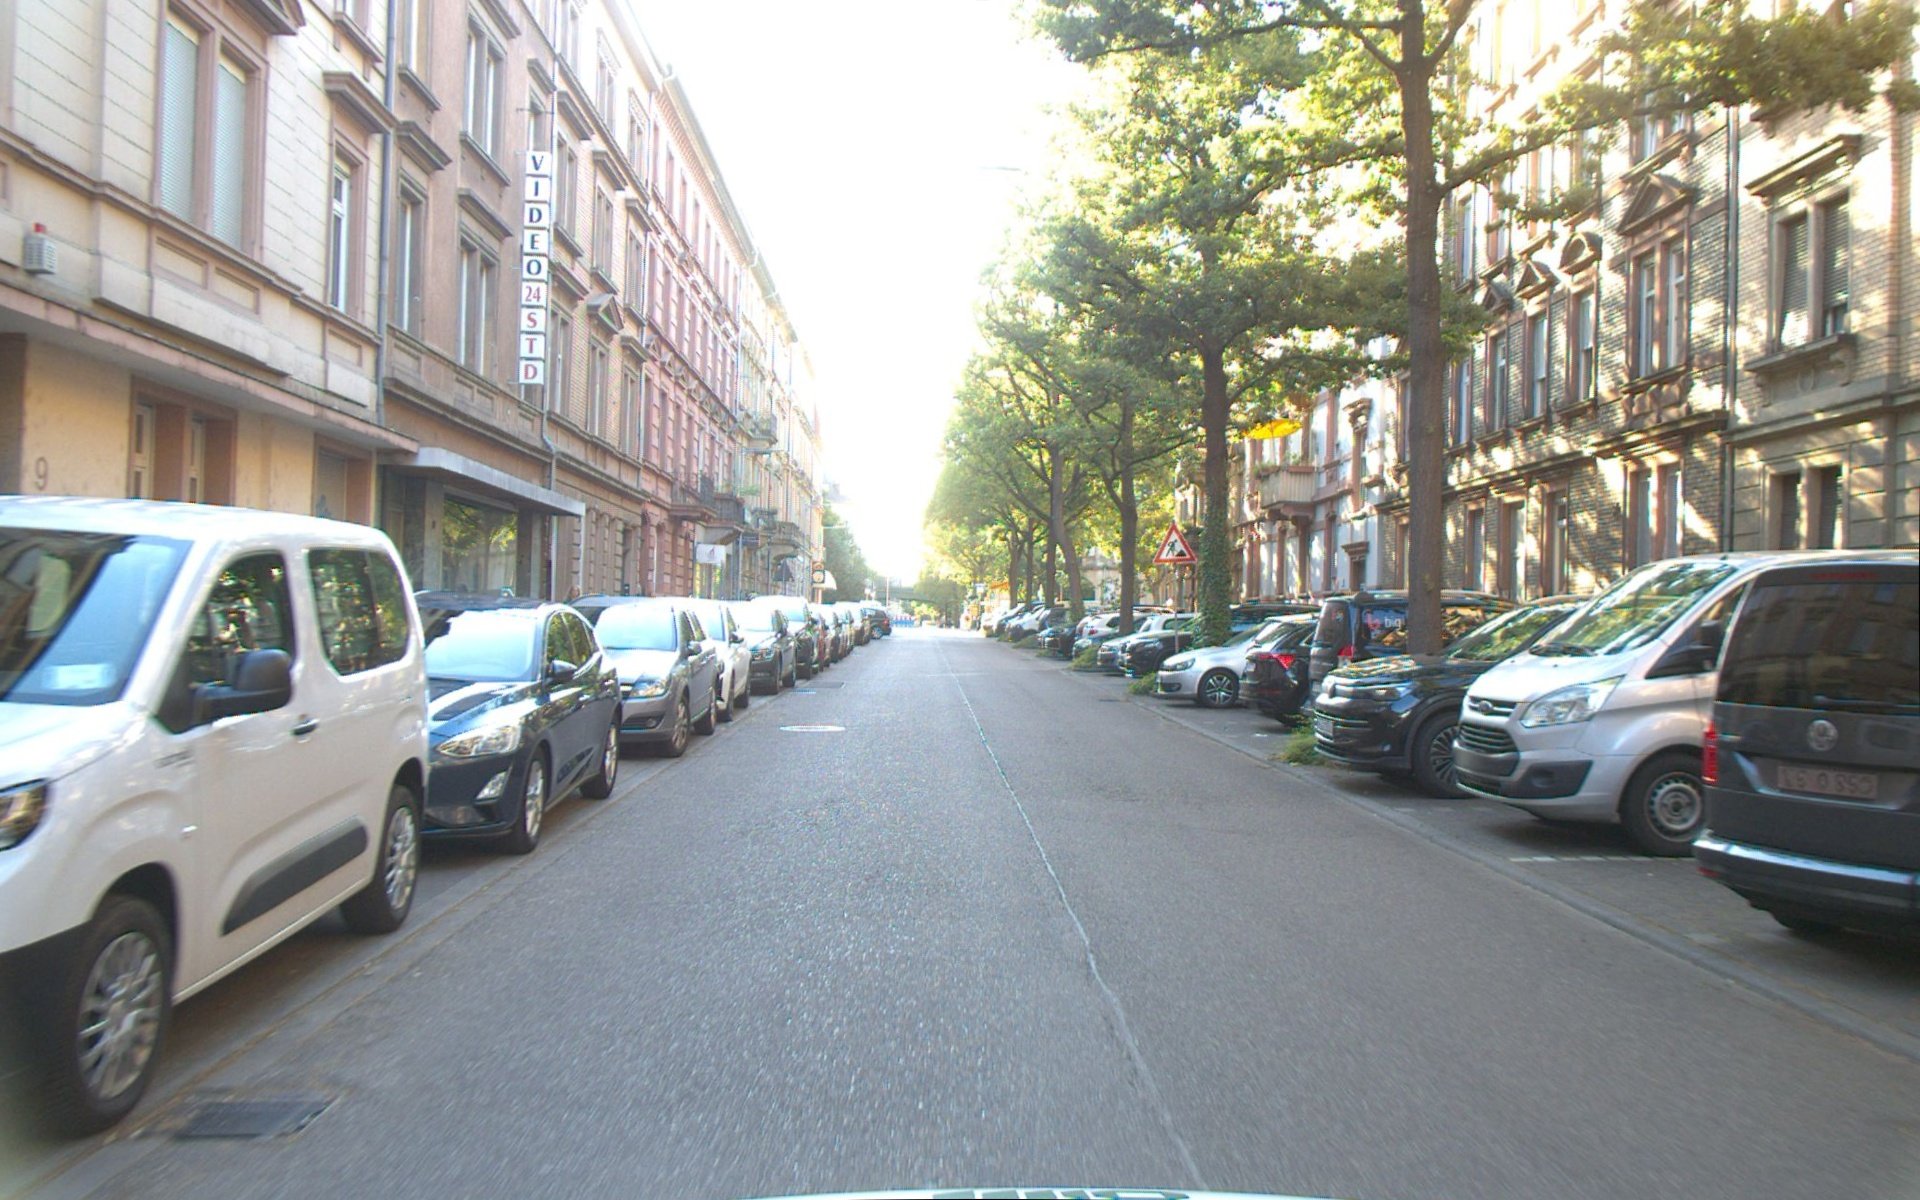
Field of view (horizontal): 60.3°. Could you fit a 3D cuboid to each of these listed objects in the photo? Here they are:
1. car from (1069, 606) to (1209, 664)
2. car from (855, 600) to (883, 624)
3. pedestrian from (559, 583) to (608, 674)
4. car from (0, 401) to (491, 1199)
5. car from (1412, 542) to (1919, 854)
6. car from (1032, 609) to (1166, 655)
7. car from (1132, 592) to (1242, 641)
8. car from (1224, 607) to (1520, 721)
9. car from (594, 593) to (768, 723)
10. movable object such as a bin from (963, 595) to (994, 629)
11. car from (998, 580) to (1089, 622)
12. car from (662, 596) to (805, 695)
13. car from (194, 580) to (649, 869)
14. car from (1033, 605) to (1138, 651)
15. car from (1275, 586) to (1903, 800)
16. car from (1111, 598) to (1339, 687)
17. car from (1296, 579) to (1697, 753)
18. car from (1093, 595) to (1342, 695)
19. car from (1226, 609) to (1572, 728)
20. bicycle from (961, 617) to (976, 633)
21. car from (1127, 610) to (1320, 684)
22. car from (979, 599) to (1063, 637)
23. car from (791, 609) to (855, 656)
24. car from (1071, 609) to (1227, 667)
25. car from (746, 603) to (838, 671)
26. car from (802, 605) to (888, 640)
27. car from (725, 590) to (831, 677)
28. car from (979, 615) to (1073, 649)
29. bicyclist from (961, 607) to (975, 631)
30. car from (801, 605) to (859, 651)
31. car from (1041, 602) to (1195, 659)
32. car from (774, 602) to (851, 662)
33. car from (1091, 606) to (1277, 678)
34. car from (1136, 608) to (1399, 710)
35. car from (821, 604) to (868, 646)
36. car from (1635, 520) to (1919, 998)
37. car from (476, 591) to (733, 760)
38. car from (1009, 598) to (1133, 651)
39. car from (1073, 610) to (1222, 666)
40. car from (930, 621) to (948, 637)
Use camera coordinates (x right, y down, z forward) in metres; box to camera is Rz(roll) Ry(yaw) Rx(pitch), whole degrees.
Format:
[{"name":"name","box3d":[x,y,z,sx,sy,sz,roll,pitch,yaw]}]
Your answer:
[{"name":"car","box3d":[5.330,1.041,49.596,3.909,1.618,1.781,1,0,-5]},{"name":"car","box3d":[-5.842,0.786,106.252,1.729,1.462,4.298,2,0,-3]},{"name":"pedestrian","box3d":[-7.015,0.523,30.846,0.681,1.660,1.018,2,-1,-3]},{"name":"car","box3d":[-3.181,0.454,5.893,1.805,1.865,4.604,2,0,-3]},{"name":"car","box3d":[5.974,0.599,11.816,4.823,1.935,2.174,-1,0,-5]},{"name":"car","box3d":[4.996,1.142,59.990,4.568,1.529,1.930,1,0,-5]},{"name":"car","box3d":[13.017,0.932,95.049,5.783,2.582,2.376,2,-1,-8]},{"name":"car","box3d":[6.037,0.917,24.470,3.908,1.521,1.685,2,0,-4]},{"name":"car","box3d":[-3.561,0.699,21.780,1.721,1.498,4.086,2,0,-2]},{"name":"movable object such as a bin","box3d":[1.599,1.037,139.660,1.951,2.747,3.112,2,-1,12]},{"name":"car","box3d":[4.341,0.070,86.780,4.524,2.049,1.998,1,-1,-4]},{"name":"car","box3d":[-3.771,0.726,28.268,1.824,1.498,4.488,2,0,-1]},{"name":"car","box3d":[-3.272,0.677,10.958,1.711,1.498,4.242,2,0,-2]},{"name":"car","box3d":[4.874,1.092,64.658,3.810,1.678,1.722,1,-1,-7]},{"name":"car","box3d":[5.475,0.764,14.800,4.823,1.661,2.076,-1,0,-5]},{"name":"car","box3d":[5.489,0.892,34.560,4.386,1.685,1.890,2,-2,-3]},{"name":"car","box3d":[6.157,0.737,19.331,4.040,1.819,1.945,2,0,0]},{"name":"car","box3d":[4.802,0.851,31.259,4.384,1.685,1.891,2,-2,0]},{"name":"car","box3d":[5.745,0.872,21.973,4.062,1.480,1.936,0,0,-3]},{"name":"bicycle","box3d":[0.503,1.533,102.003,0.787,0.985,2.107,3,-1,-2]},{"name":"car","box3d":[5.879,1.029,37.254,4.017,1.495,1.801,2,0,0]},{"name":"car","box3d":[3.627,1.085,99.525,4.873,2.133,2.105,2,-1,-2]},{"name":"car","box3d":[-4.181,0.961,50.825,1.671,1.346,4.100,1,0,-1]},{"name":"car","box3d":[5.025,0.997,44.279,3.907,1.412,1.677,-1,0,-2]},{"name":"car","box3d":[-3.947,0.846,39.409,1.784,1.450,4.312,3,0,-2]},{"name":"car","box3d":[-5.433,1.033,78.014,3.911,1.556,1.823,1,-1,-8]},{"name":"car","box3d":[-3.775,0.681,34.873,1.784,1.628,4.312,3,0,-2]},{"name":"car","box3d":[2.888,1.401,72.861,3.913,1.500,1.778,0,0,-9]},{"name":"bicyclist","box3d":[0.499,1.178,101.984,0.787,1.407,0.985,3,-1,-2]},{"name":"car","box3d":[-4.333,0.921,55.501,1.671,1.464,3.958,1,0,-1]},{"name":"car","box3d":[4.929,0.932,51.890,4.554,1.732,1.880,0,0,-5]},{"name":"car","box3d":[-4.049,0.850,45.954,1.784,1.503,4.422,3,0,-2]},{"name":"car","box3d":[5.372,0.998,39.907,4.139,1.563,1.799,2,0,-5]},{"name":"car","box3d":[4.907,0.931,26.722,3.906,1.482,1.687,2,0,-1]},{"name":"car","box3d":[-4.340,0.931,62.545,1.550,1.499,3.998,1,0,-2]},{"name":"car","box3d":[5.759,0.639,8.100,4.600,1.923,1.894,0,0,-23]},{"name":"car","box3d":[-3.506,0.691,17.144,1.848,1.469,4.540,2,0,-3]},{"name":"car","box3d":[4.594,1.027,69.197,4.989,1.974,2.157,2,-4,-1]},{"name":"car","box3d":[5.296,1.059,46.998,3.909,1.488,1.781,1,0,-5]},{"name":"car","box3d":[-2.165,3.026,171.520,1.714,1.536,3.998,2,0,-2]}]
